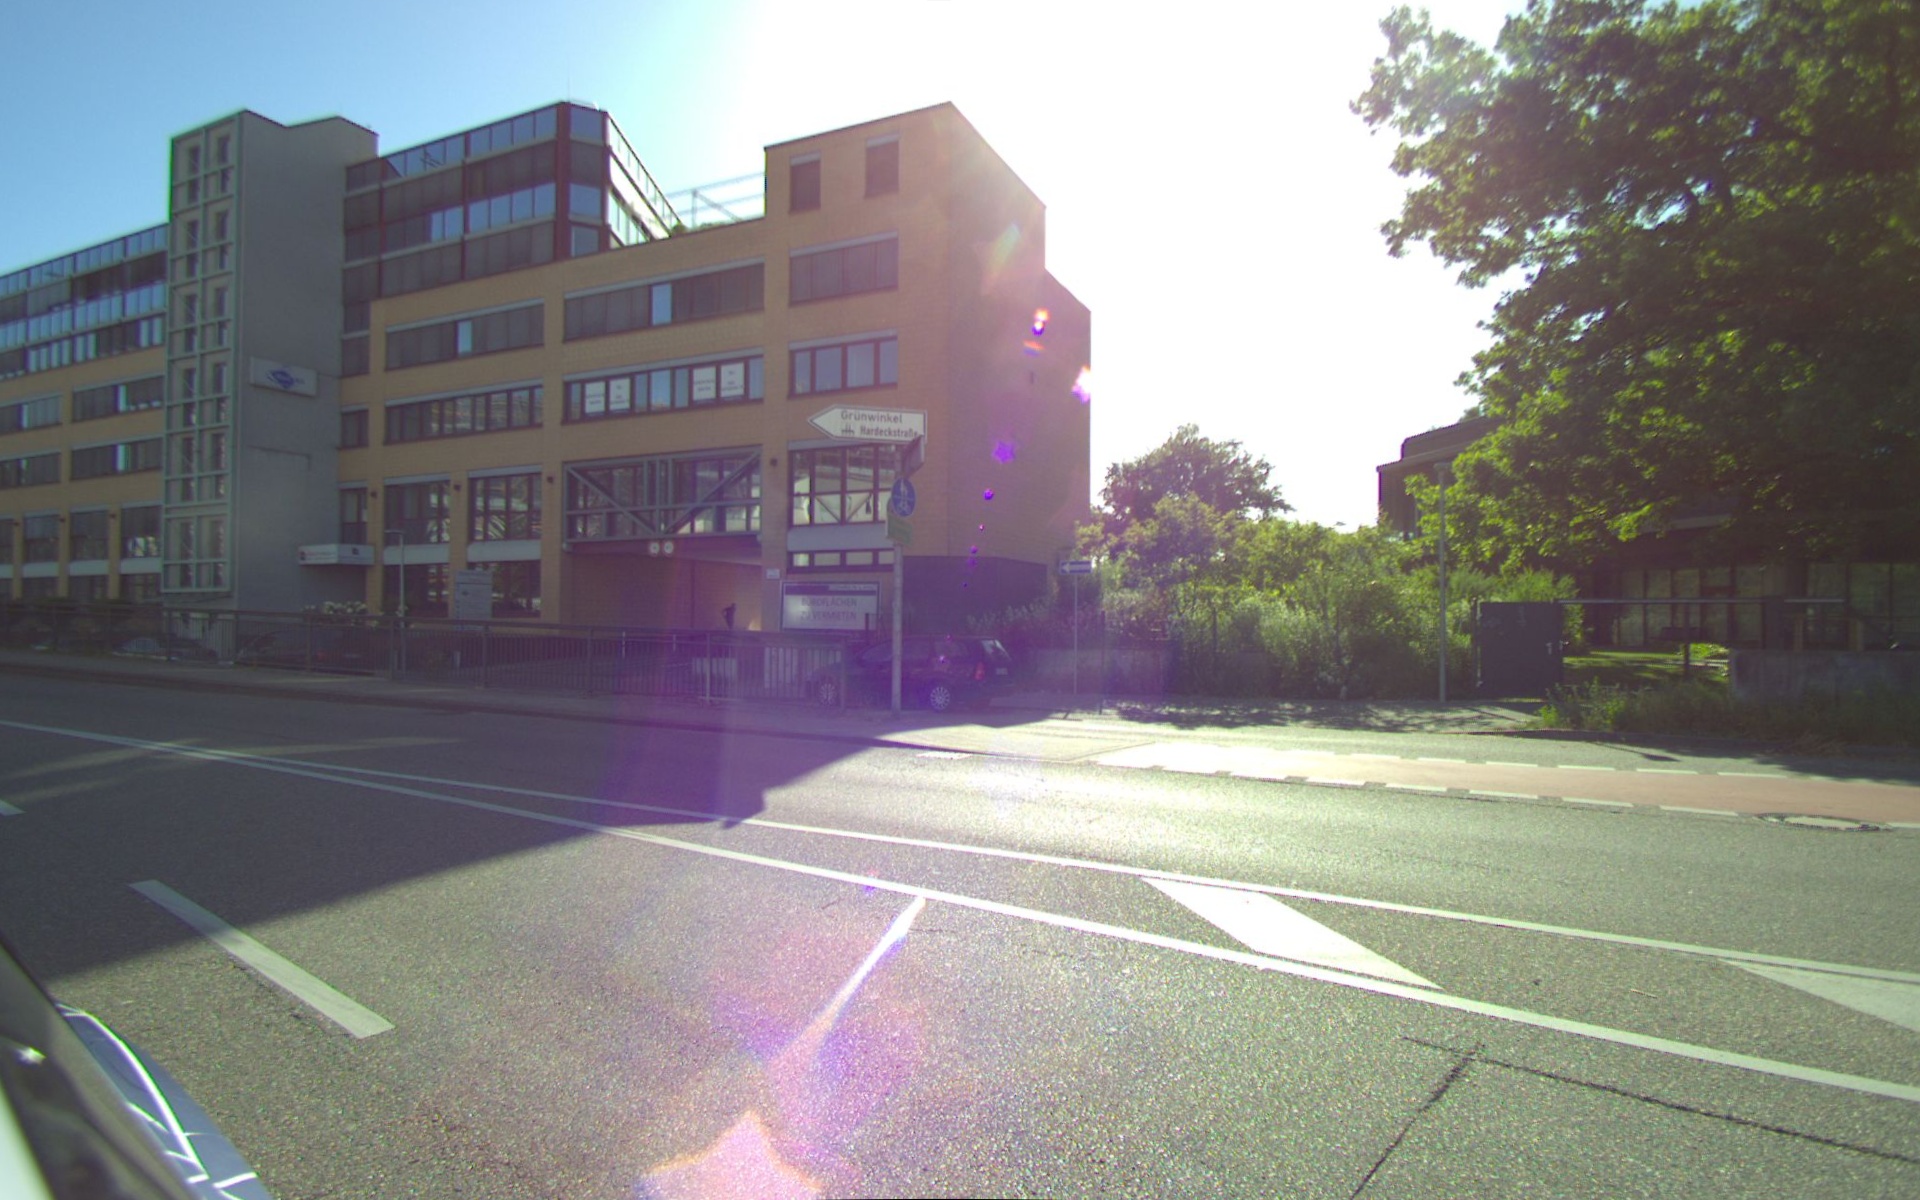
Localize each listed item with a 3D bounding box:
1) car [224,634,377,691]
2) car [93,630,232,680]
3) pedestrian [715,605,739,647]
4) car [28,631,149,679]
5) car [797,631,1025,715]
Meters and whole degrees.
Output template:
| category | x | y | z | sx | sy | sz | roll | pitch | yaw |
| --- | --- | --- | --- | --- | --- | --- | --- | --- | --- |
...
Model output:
| category | x | y | z | sx | sy | sz | roll | pitch | yaw |
| --- | --- | --- | --- | --- | --- | --- | --- | --- | --- |
| car | -18.923 | 1.765 | 29.025 | 4.133 | 1.535 | 1.626 | -1 | -2 | 22 |
| car | -25.791 | 1.737 | 32.742 | 4.136 | 1.535 | 1.865 | -1 | -2 | 25 |
| pedestrian | -10.319 | 1.143 | 44.843 | 0.702 | 1.865 | 0.739 | -1 | 0 | 31 |
| car | -30.596 | 1.889 | 35.520 | 3.980 | 1.576 | 1.868 | -1 | -2 | 27 |
| car | -1.018 | 1.443 | 20.164 | 4.360 | 1.520 | 1.643 | -2 | -5 | 29 |
